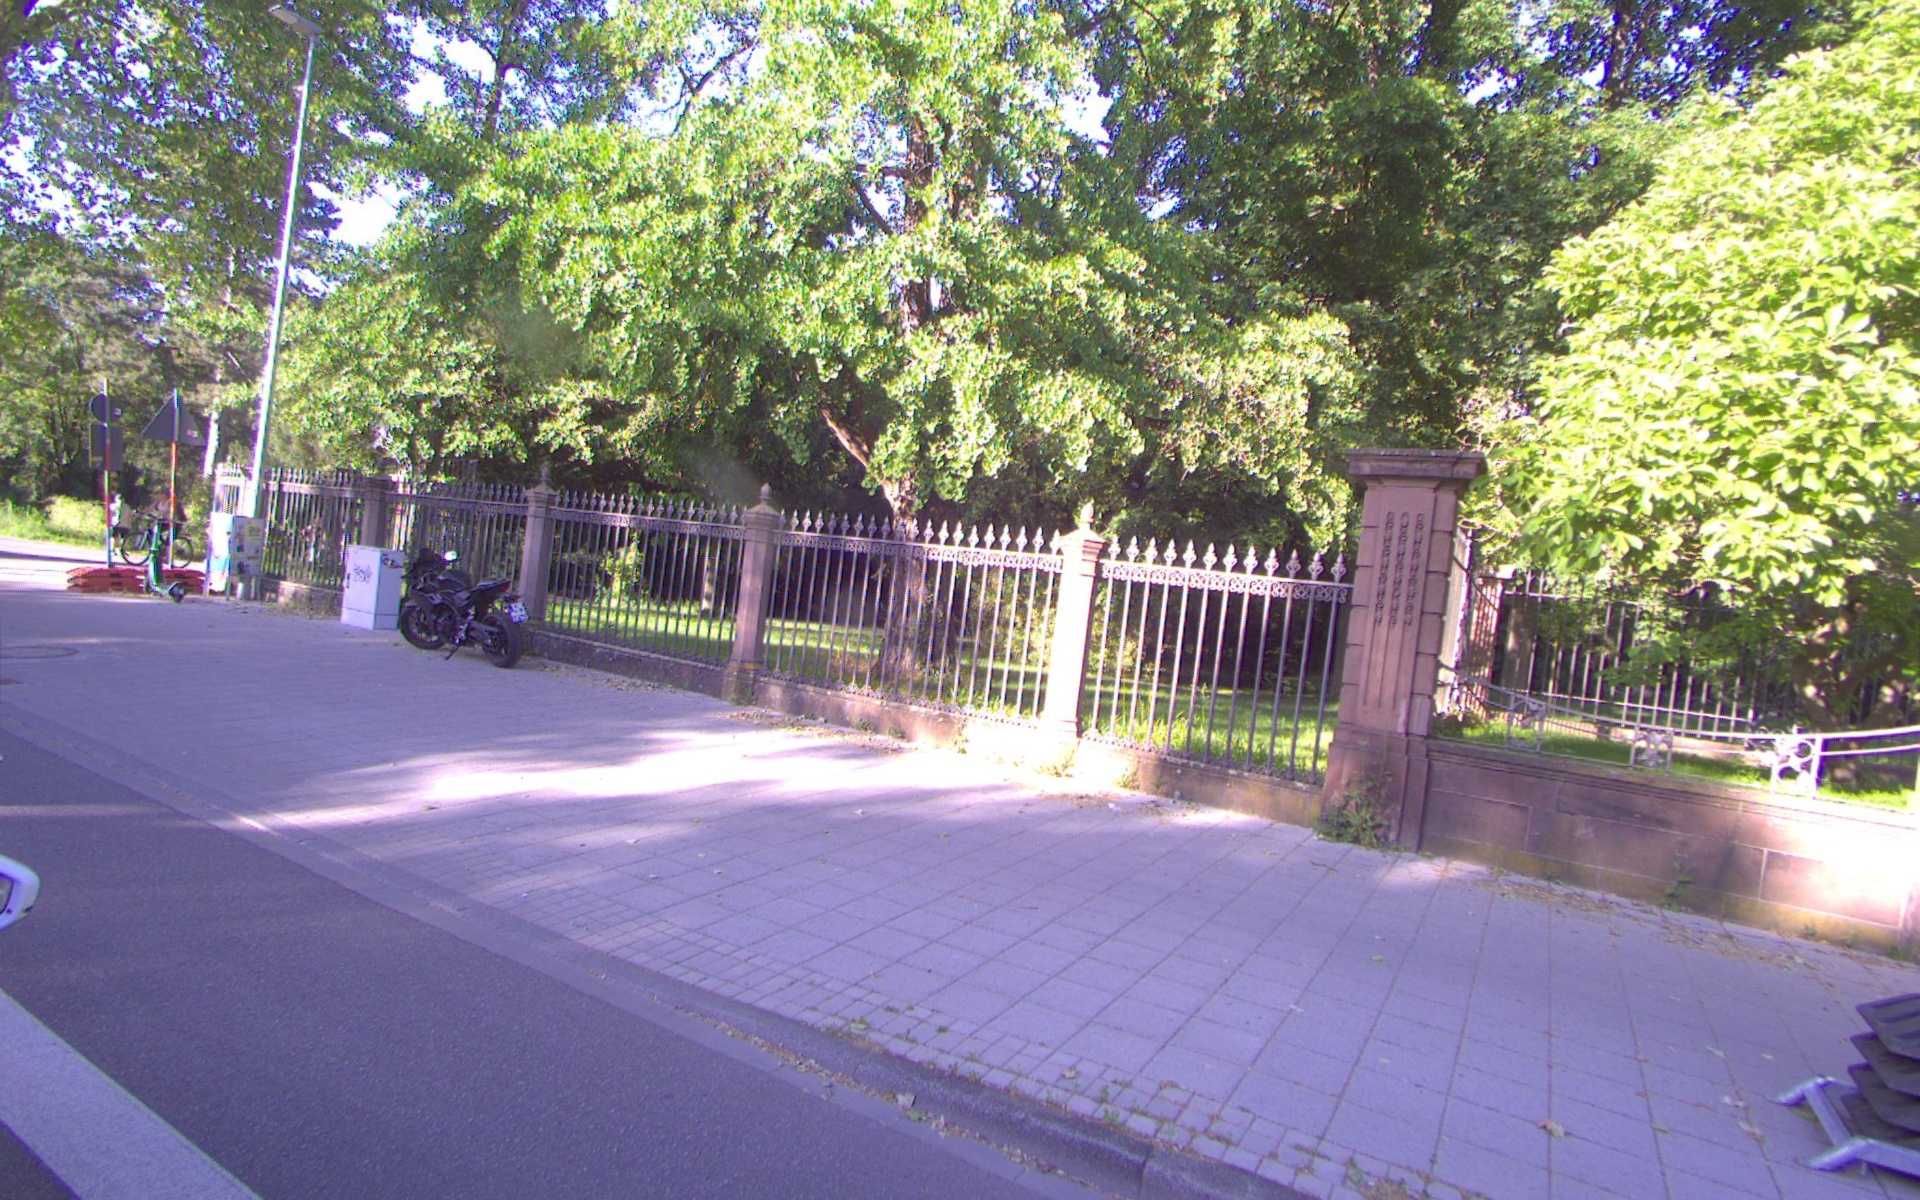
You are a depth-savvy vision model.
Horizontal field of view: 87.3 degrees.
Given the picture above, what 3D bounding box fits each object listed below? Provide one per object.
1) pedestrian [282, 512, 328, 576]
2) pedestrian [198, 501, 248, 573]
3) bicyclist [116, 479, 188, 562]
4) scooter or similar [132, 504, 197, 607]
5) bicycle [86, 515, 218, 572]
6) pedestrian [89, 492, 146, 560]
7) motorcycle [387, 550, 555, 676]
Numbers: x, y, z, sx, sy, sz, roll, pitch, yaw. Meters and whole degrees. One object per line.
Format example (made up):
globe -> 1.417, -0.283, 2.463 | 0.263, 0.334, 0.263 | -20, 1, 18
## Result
pedestrian -> -18.654, -1.587, 28.644 | 0.823, 1.702, 0.685 | 7, 0, -45
pedestrian -> -18.876, -1.603, 25.757 | 0.633, 1.719, 0.690 | 7, 0, 31
bicyclist -> -17.356, -1.693, 21.624 | 0.722, 1.634, 0.849 | 7, 2, 19
scooter or similar -> -11.179, -0.636, 14.134 | 1.152, 1.344, 0.228 | 7, 2, 30
bicycle -> -17.380, -1.192, 21.721 | 0.736, 0.988, 2.099 | 7, 1, 19
pedestrian -> -20.861, -1.822, 24.939 | 0.812, 1.536, 0.909 | 7, -1, -32
motorcycle -> -5.438, 0.120, 11.126 | 2.134, 1.146, 0.506 | 7, 2, 30
